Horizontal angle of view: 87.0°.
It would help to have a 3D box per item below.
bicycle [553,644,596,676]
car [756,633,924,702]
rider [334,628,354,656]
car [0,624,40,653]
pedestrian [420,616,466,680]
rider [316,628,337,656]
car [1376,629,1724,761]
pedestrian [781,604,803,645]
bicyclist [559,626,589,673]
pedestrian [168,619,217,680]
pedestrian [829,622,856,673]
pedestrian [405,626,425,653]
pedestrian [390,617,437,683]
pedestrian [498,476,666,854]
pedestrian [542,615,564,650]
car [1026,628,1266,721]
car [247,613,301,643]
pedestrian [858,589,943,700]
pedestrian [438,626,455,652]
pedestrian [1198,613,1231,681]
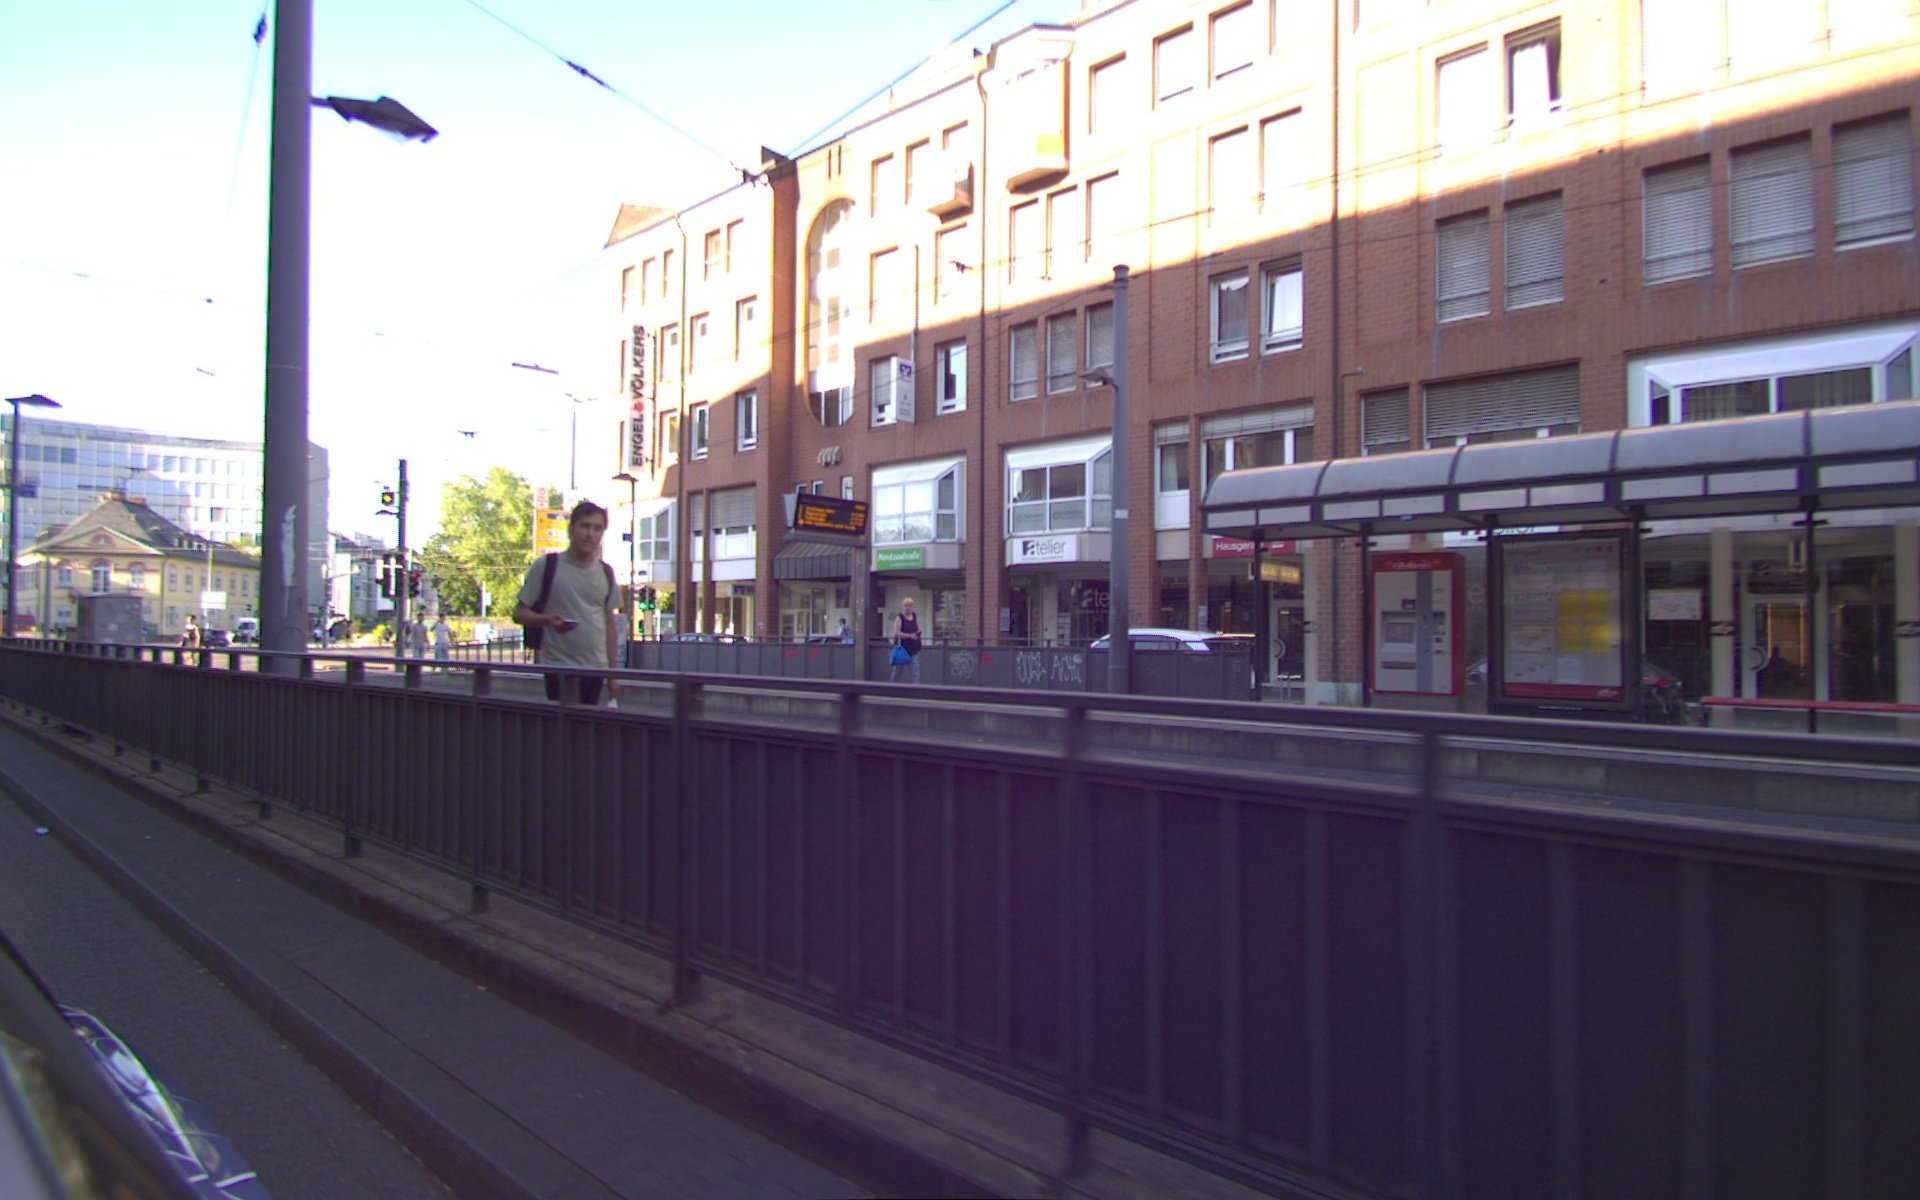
[{"bbox_3d":[-14.988,2.322,39.327,2.052,1.129,0.567,-1,0,38],"label":"bicycle"},{"bbox_3d":[-3.103,1.658,25.742,4.193,1.612,1.873,-2,-3,40],"label":"car"},{"bbox_3d":[-46.487,3.148,76.378,0.997,2.029,0.992,-1,0,-15],"label":"rider"},{"bbox_3d":[-83.575,3.376,88.905,5.399,2.474,2.518,-2,-1,29],"label":"car"},{"bbox_3d":[-14.888,1.375,29.163,0.808,1.780,0.852,-1,0,31],"label":"pedestrian"},{"bbox_3d":[-47.776,3.142,76.324,0.997,2.029,1.023,-1,0,-15],"label":"rider"},{"bbox_3d":[8.858,1.322,15.396,4.289,1.606,1.889,1,-2,42],"label":"car"},{"bbox_3d":[-6.863,0.993,41.321,0.637,1.674,0.605,-1,-2,40],"label":"pedestrian"},{"bbox_3d":[-14.999,1.905,39.336,0.810,1.780,0.729,-1,0,38],"label":"bicyclist"},{"bbox_3d":[-23.504,1.497,30.991,0.852,1.817,0.808,-1,0,12],"label":"pedestrian"},{"bbox_3d":[-3.960,1.593,34.075,0.637,1.674,0.605,-1,-2,40],"label":"pedestrian"},{"bbox_3d":[-42.819,3.091,79.505,1.058,2.029,0.990,-2,0,-45],"label":"pedestrian"},{"bbox_3d":[-15.346,1.382,28.412,0.808,1.780,0.852,-1,0,32],"label":"pedestrian"},{"bbox_3d":[-1.956,0.314,5.250,0.605,1.805,0.577,-1,-2,39],"label":"pedestrian"},{"bbox_3d":[-24.385,1.944,60.633,0.856,2.029,0.804,-1,0,27],"label":"pedestrian"},{"bbox_3d":[3.558,1.417,19.853,4.289,1.606,1.889,-3,-4,42],"label":"car"},{"bbox_3d":[-73.527,2.956,108.545,2.501,3.071,6.390,3,-2,-12],"label":"car"},{"bbox_3d":[-0.929,0.683,15.855,0.967,1.674,0.902,-1,-2,40],"label":"pedestrian"},{"bbox_3d":[-41.165,3.093,81.170,0.997,2.029,0.992,-1,0,-15],"label":"pedestrian"},{"bbox_3d":[6.449,1.184,25.673,0.636,1.674,0.606,-1,-2,36],"label":"pedestrian"}]
